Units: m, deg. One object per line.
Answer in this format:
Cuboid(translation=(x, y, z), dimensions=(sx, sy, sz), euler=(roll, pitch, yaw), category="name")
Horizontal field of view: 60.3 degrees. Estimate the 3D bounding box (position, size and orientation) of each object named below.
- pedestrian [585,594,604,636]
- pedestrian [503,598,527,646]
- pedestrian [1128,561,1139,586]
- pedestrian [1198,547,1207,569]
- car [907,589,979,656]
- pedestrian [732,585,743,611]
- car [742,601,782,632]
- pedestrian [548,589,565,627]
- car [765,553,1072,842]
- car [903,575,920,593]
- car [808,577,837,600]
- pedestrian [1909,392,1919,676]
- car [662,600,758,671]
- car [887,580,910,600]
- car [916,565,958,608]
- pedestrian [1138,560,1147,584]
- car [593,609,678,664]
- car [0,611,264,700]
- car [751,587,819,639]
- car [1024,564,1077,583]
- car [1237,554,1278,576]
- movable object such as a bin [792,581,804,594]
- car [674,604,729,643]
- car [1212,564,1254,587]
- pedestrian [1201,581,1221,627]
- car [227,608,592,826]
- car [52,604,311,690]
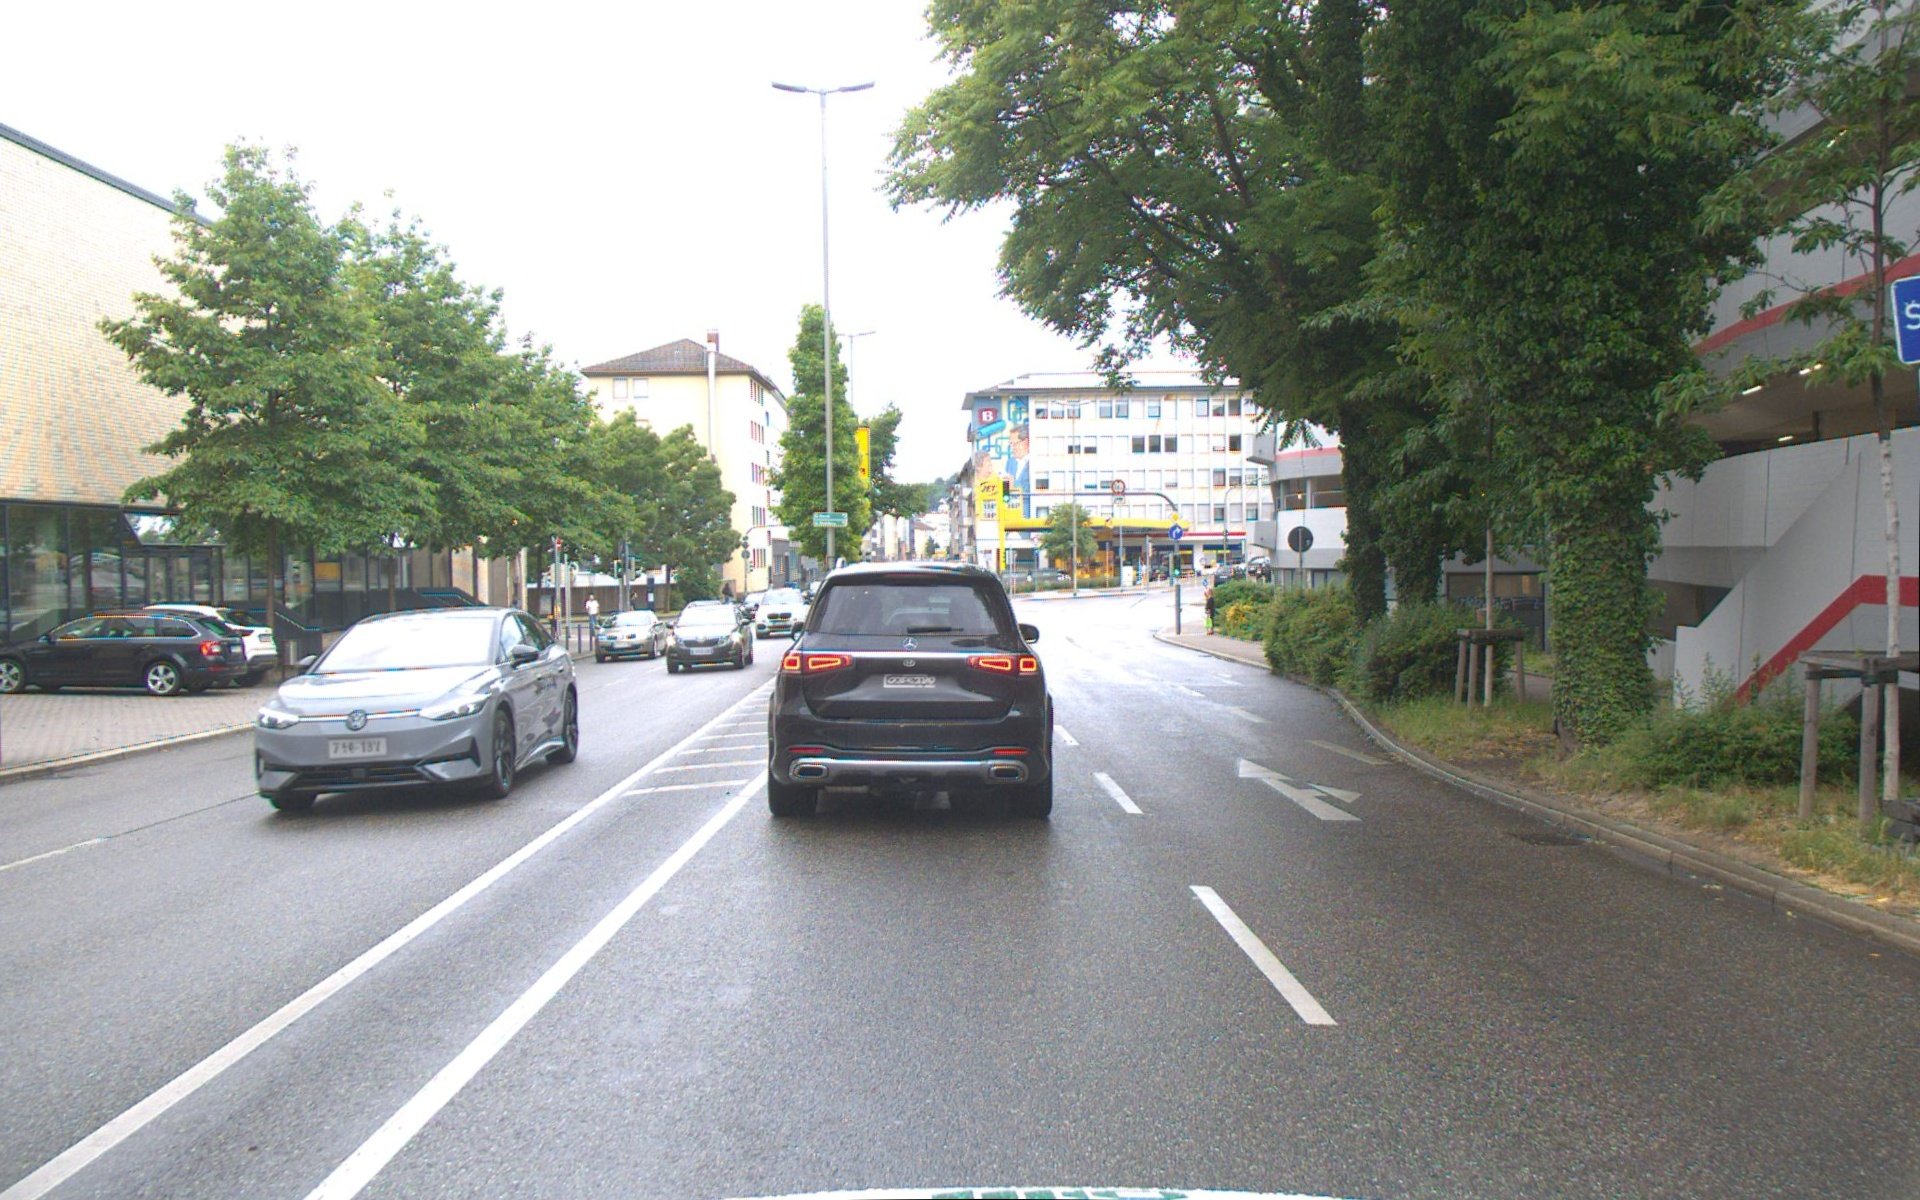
Cuboid(translation=(-15.204, 0.619, 68.715), dimensions=(0.676, 1.685, 0.612), euler=(-2, 1, -8), category="pedestrian")
Cuboid(translation=(-15.801, 0.789, 58.762), dimensions=(0.630, 1.695, 1.017), euler=(1, -1, -7), category="pedestrian")
Cuboid(translation=(12.513, -1.906, 119.112), dimensions=(0.516, 1.757, 0.688), euler=(-1, 1, 29), category="pedestrian")
Cuboid(translation=(19.758, -3.450, 134.883), dimensions=(0.515, 1.757, 0.688), euler=(-1, 1, 26), category="pedestrian")
Cuboid(translation=(-0.499, 0.647, 47.952), dimensions=(1.953, 1.832, 3.999), euler=(1, -1, -1), category="car")
Cuboid(translation=(-15.054, -0.123, 111.845), dimensions=(0.635, 1.757, 0.628), euler=(-2, 0, -5), category="pedestrian")
Cuboid(translation=(-10.092, 0.832, 84.600), dimensions=(1.698, 1.418, 4.197), euler=(-3, 0, -3), category="car")
Cuboid(translation=(-16.775, 0.333, 68.740), dimensions=(0.429, 1.560, 0.546), euler=(-1, 1, 13), category="pedestrian")
Cuboid(translation=(-0.293, 0.651, 12.661), dimensions=(1.953, 1.832, 3.999), euler=(1, -1, -1), category="car")
Cuboid(translation=(-6.127, -2.013, 209.164), dimensions=(1.953, 2.049, 4.000), euler=(1, -1, 0), category="car")
Cuboid(translation=(-10.064, -0.842, 121.646), dimensions=(1.851, 1.614, 4.535), euler=(-3, 0, -2), category="car")
Cuboid(translation=(7.664, -0.509, 12.664), dimensions=(0.503, 2.192, 0.494), euler=(-1, 0, 3), category="pedestrian")
Cuboid(translation=(-5.837, 0.802, 38.975), dimensions=(1.776, 1.488, 4.285), euler=(-3, 0, -3), category="car")
Cuboid(translation=(-5.379, -0.853, 144.782), dimensions=(1.954, 1.642, 4.186), euler=(1, -1, -3), category="car")
Cuboid(translation=(-1.142, -0.650, 81.770), dimensions=(1.953, 2.049, 3.999), euler=(1, -1, -1), category="car")
Cuboid(translation=(13.057, -1.995, 118.432), dimensions=(0.560, 1.727, 0.631), euler=(1, -1, 0), category="pedestrian")
Cuboid(translation=(-9.473, 1.037, 48.596), dimensions=(1.793, 1.412, 4.227), euler=(-3, 0, -3), category="car")
Cuboid(translation=(-15.115, 0.987, 30.087), dimensions=(4.097, 1.521, 1.997), euler=(1, -1, -7), category="car")
Cuboid(translation=(-6.695, 0.475, 63.669), dimensions=(1.852, 1.843, 4.576), euler=(-3, 0, 2), category="car")
Cuboid(translation=(6.948, -2.019, 126.774), dimensions=(1.724, 1.400, 3.935), euler=(-2, 1, -44), category="car")
Cuboid(translation=(24.673, -2.890, 137.008), dimensions=(1.958, 1.735, 3.990), euler=(-1, 1, 33), category="car")
Cuboid(translation=(-13.612, -1.072, 139.032), dimensions=(0.891, 1.056, 0.844), euler=(1, -1, 0), category="movable object such as a bin")
Cuboid(translation=(-10.428, 0.919, 66.857), dimensions=(1.710, 1.437, 3.969), euler=(-3, 0, -3), category="car")
Cuboid(translation=(19.273, -1.689, 116.646), dimensions=(1.761, 1.552, 4.051), euler=(1, 1, 27), category="car")
Cuboid(translation=(9.660, 0.155, 63.593), dimensions=(0.634, 1.740, 0.470), euler=(0, -1, 35), category="pedestrian")
Cuboid(translation=(-4.574, 0.876, 14.525), dimensions=(1.846, 1.524, 4.559), euler=(-2, 0, -3), category="car")
Cuboid(translation=(-15.171, 0.898, 32.407), dimensions=(4.090, 1.574, 2.000), euler=(1, -1, 0), category="car")
